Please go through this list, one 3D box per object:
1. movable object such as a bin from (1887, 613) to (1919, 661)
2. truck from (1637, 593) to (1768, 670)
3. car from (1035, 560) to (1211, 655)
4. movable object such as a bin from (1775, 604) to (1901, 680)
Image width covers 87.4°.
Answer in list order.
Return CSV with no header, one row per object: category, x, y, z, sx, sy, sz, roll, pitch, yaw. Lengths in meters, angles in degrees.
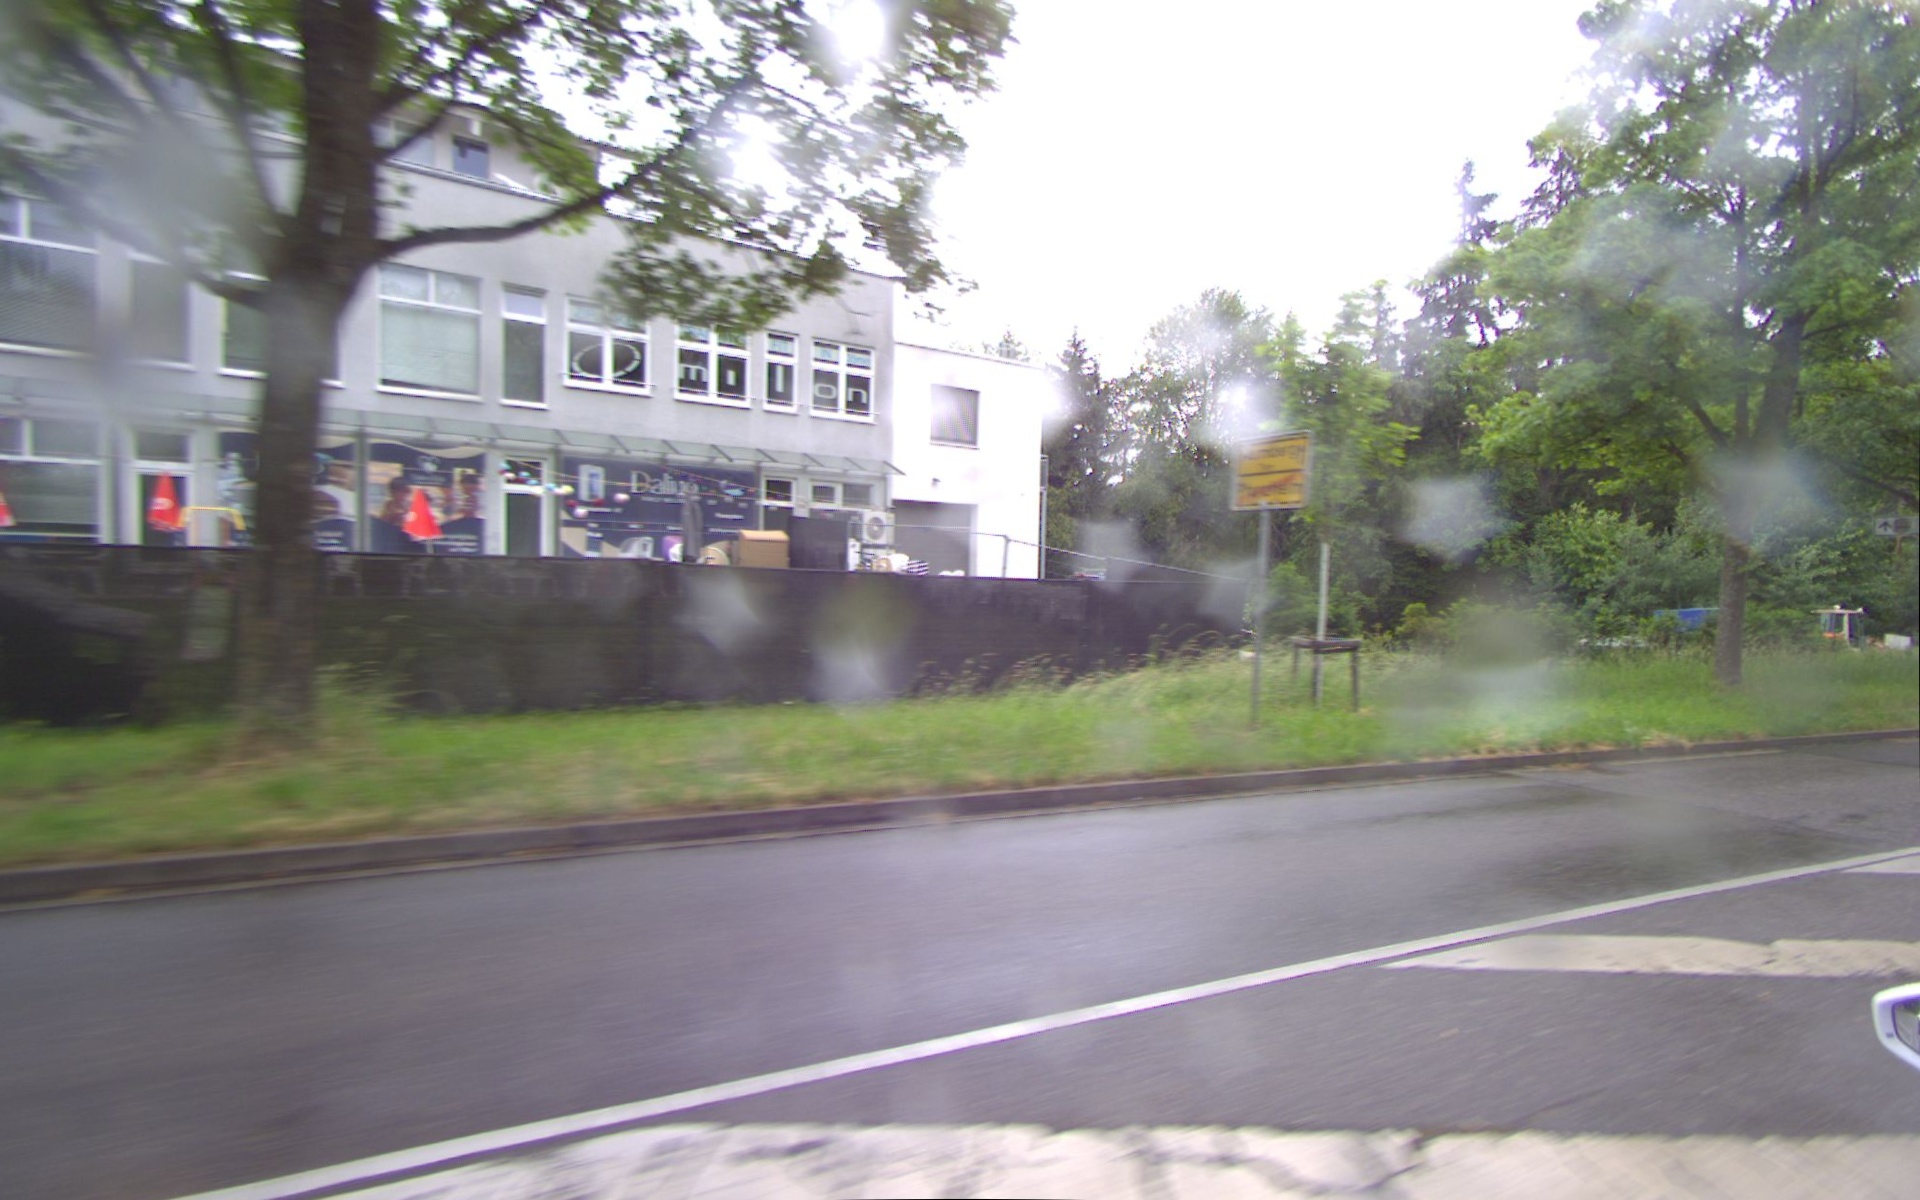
movable object such as a bin,43.666,1.668,42.127,7.751,1.933,1.852,2,0,1
truck,26.544,1.084,35.864,5.166,2.491,1.982,1,2,-33
car,5.018,0.258,30.526,5.178,1.939,1.894,12,-5,-32
movable object such as a bin,36.186,1.705,41.415,3.934,2.899,1.993,2,1,-16
